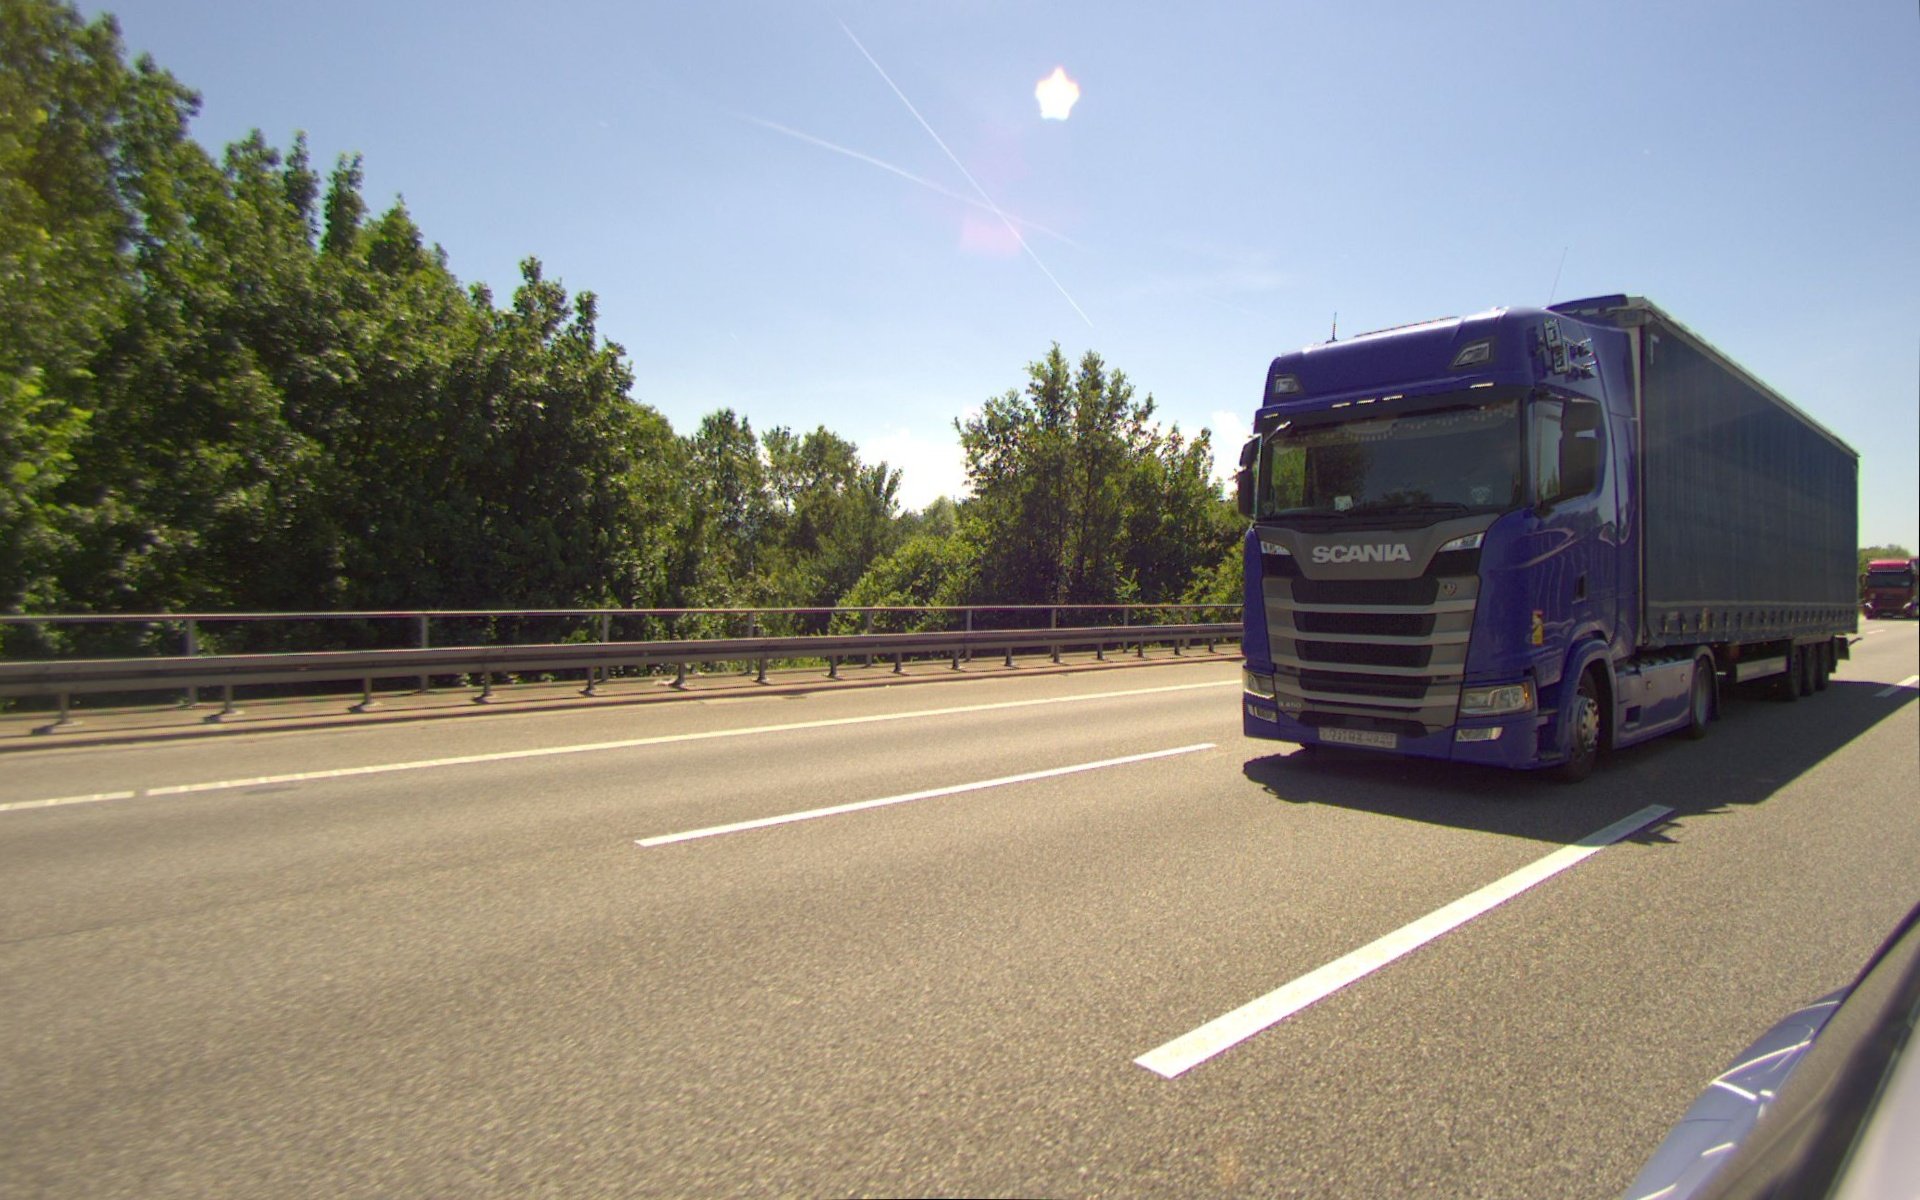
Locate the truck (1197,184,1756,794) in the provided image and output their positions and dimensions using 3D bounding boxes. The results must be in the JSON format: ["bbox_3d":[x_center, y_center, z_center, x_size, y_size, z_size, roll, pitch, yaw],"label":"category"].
[{"bbox_3d":[5.555,-0.801,10.214,6.869,4.169,2.705,0,0,-41],"label":"truck"}]

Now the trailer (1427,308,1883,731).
[{"bbox_3d":[10.909,-0.859,14.937,11.920,4.169,2.705,-1,1,-41],"label":"trailer"}]

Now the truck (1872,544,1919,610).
[{"bbox_3d":[63.117,-1.510,67.401,7.638,4.169,2.799,-1,0,-43],"label":"truck"}]

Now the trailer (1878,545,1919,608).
[{"bbox_3d":[66.888,-1.600,70.866,12.091,4.169,2.799,-1,1,-43],"label":"trailer"}]
